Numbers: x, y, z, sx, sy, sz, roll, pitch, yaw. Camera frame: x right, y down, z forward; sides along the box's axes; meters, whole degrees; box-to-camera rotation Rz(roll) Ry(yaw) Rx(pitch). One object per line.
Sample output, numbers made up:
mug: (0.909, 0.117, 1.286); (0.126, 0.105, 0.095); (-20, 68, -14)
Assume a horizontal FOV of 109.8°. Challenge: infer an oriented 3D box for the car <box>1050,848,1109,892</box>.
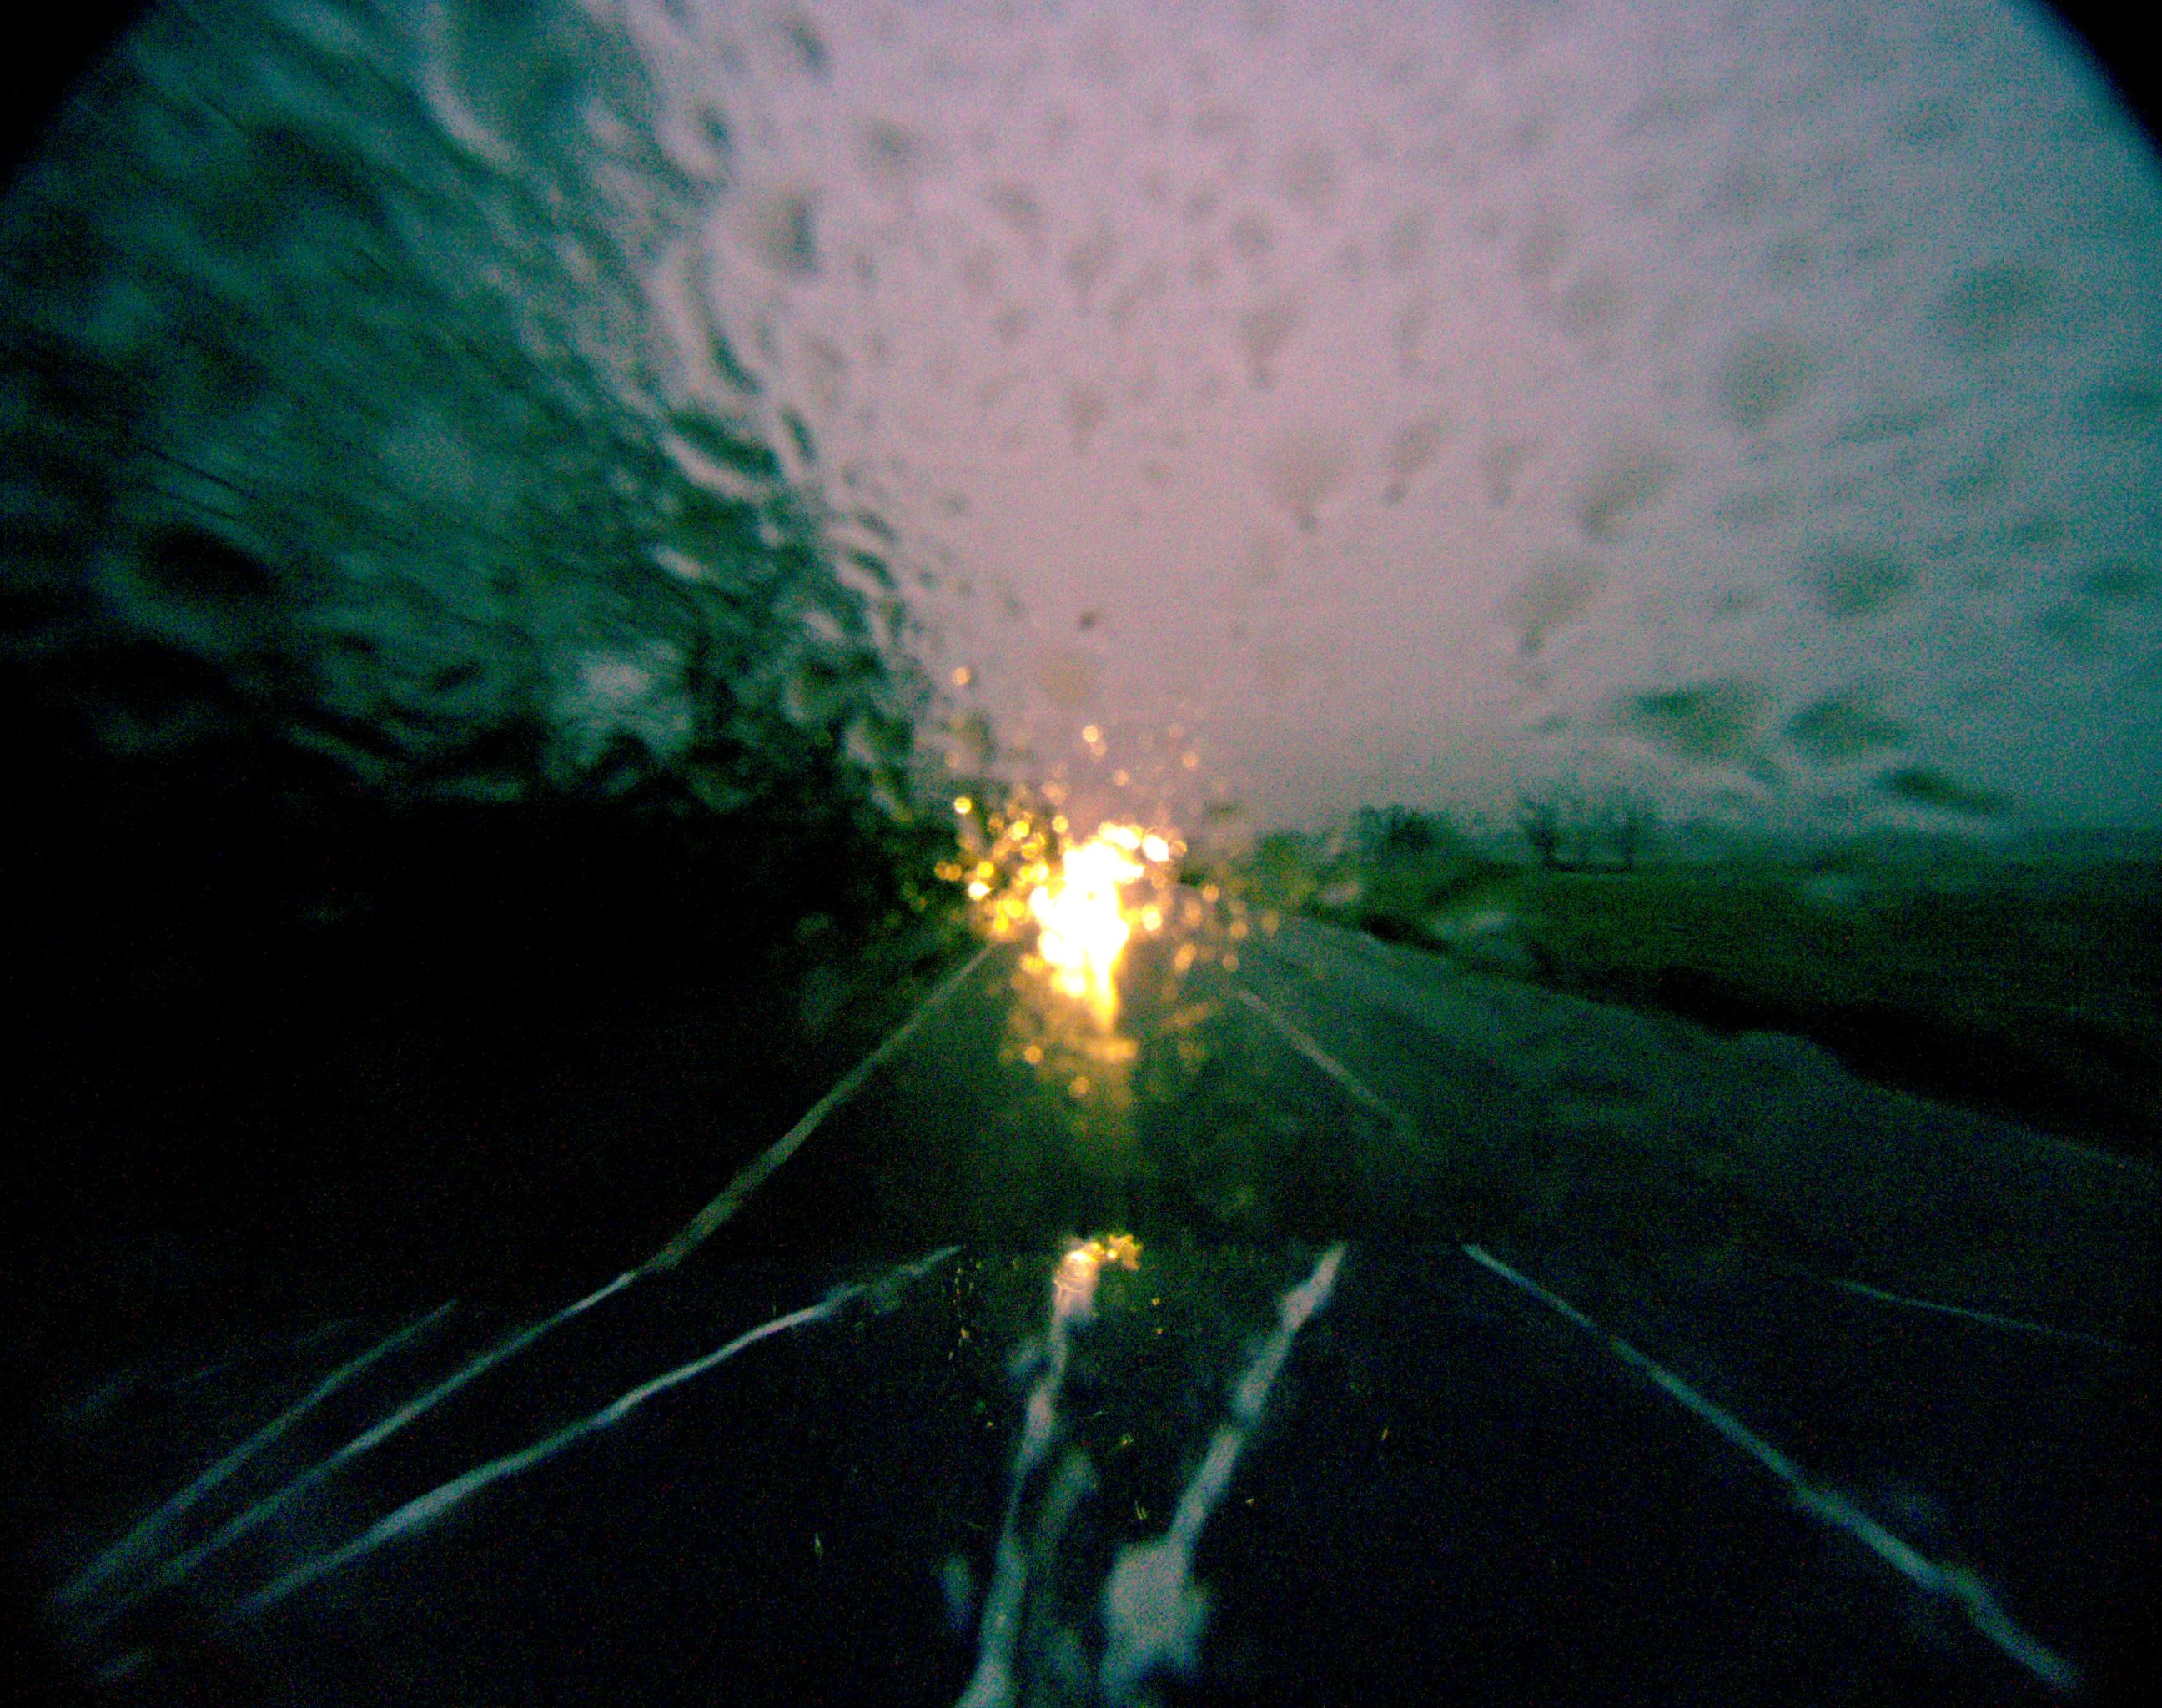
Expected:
car: (-0.002, 0.714, 38.262); (2.704, 1.974, 5.804); (-2, 1, 1)
